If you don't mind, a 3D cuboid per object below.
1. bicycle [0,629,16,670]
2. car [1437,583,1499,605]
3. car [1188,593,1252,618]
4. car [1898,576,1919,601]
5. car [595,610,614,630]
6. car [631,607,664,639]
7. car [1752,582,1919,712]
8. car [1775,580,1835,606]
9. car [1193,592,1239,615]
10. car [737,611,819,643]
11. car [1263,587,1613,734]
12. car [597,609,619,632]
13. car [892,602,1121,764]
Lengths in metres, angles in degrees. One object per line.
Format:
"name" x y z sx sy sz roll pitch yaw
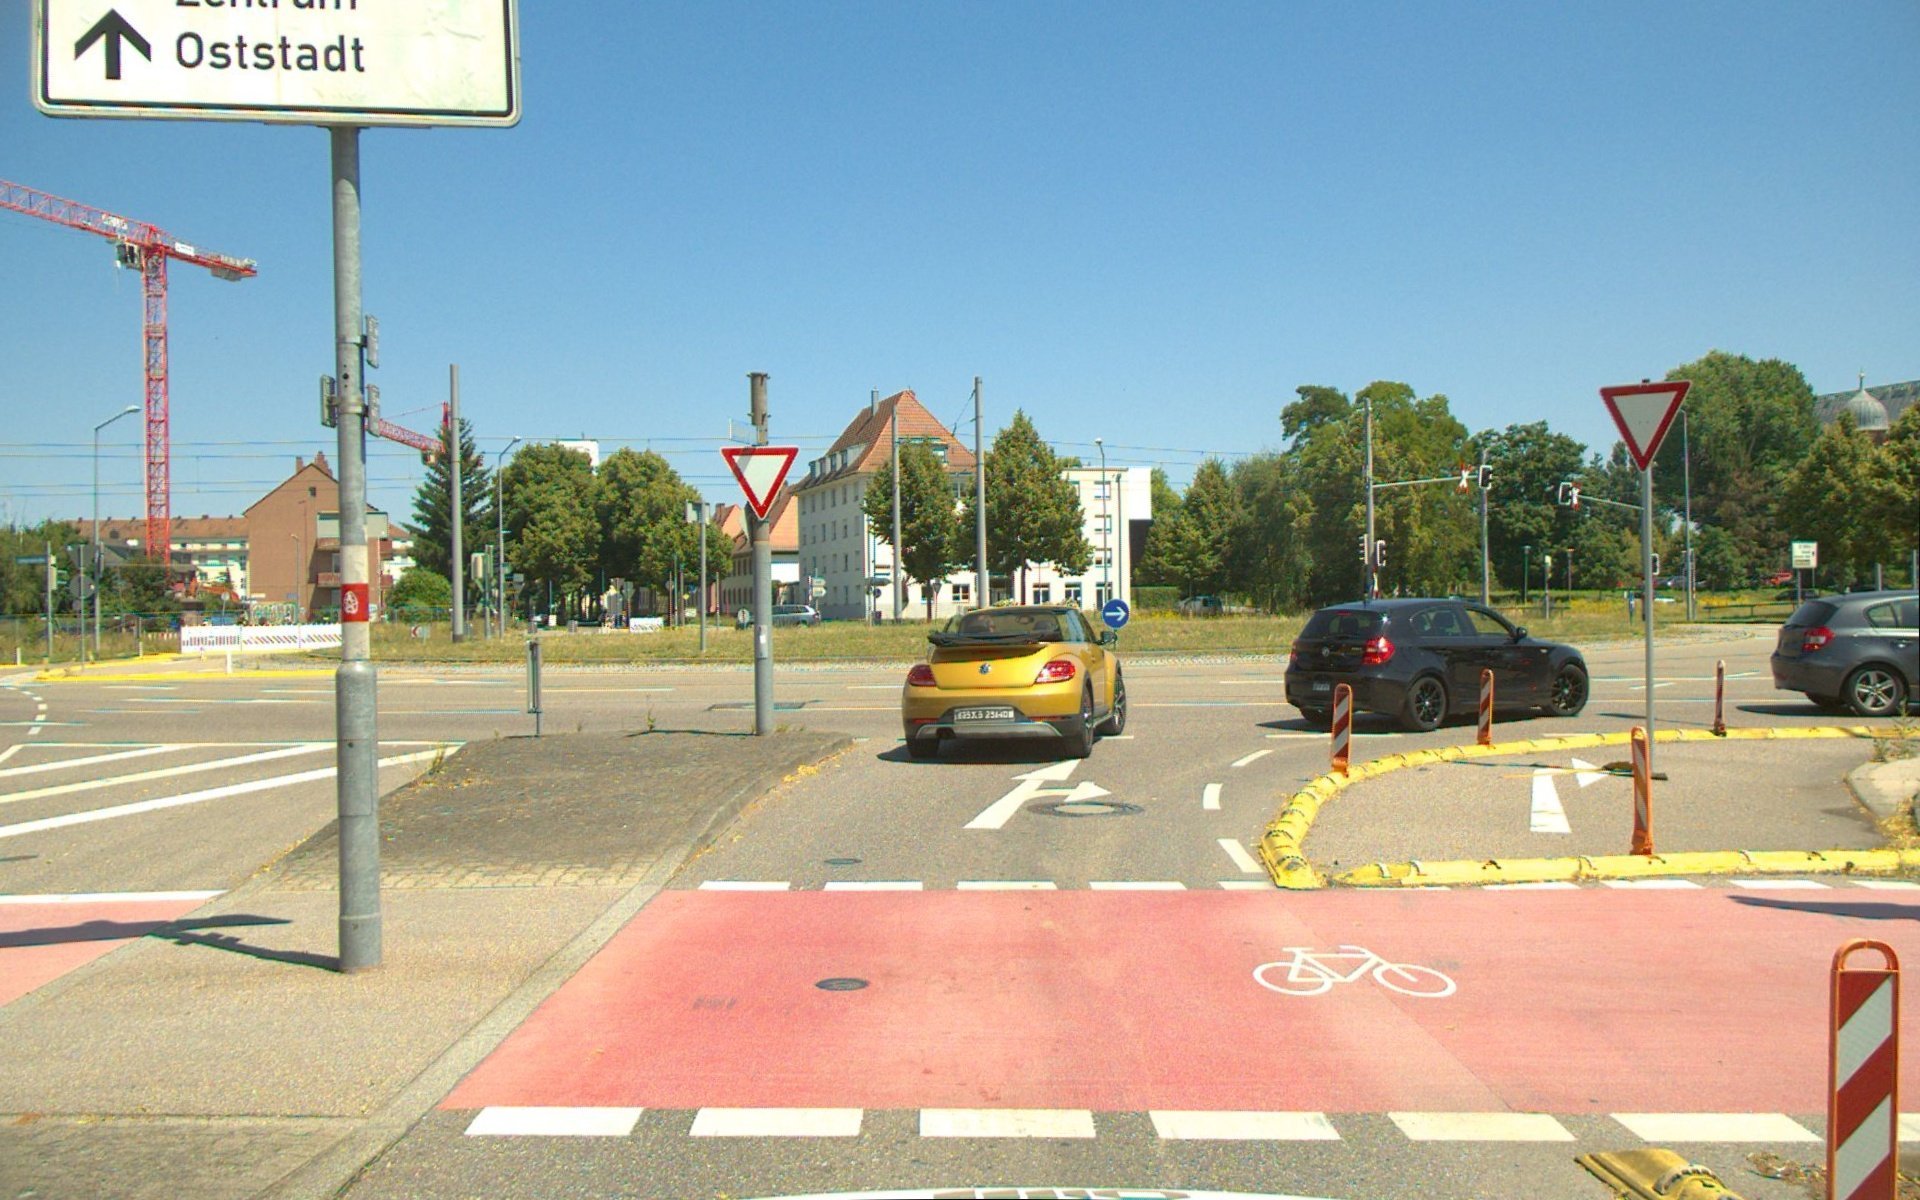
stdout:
"bicycle" -41.012 2.099 70.075 0.546 1.714 2.087 0 -1 9
"car" 37.059 -0.436 120.577 3.920 1.601 1.992 0 -1 36
"car" 17.746 0.389 112.870 3.917 1.713 1.994 0 -1 -12
"car" 79.736 -0.945 136.329 3.925 2.049 1.990 0 -1 39
"car" -36.405 2.053 169.349 1.959 2.049 3.987 0 -1 -12
"car" -20.287 1.476 107.233 1.959 2.049 3.987 0 -1 -12
"car" 11.711 0.504 19.437 3.980 1.427 1.755 -2 1 10
"car" 66.577 -0.540 130.338 3.925 2.049 1.990 0 -1 39
"car" 23.261 0.314 150.178 3.902 2.049 2.001 0 -1 15
"car" -8.839 1.307 80.428 3.911 1.490 1.997 0 -1 -7
"car" 5.571 0.619 19.150 3.951 1.465 1.782 -2 1 -33
"car" -31.438 1.854 147.661 1.959 2.049 3.987 0 -1 -12
"car" 0.588 0.748 16.757 1.786 1.427 3.665 0 0 10
